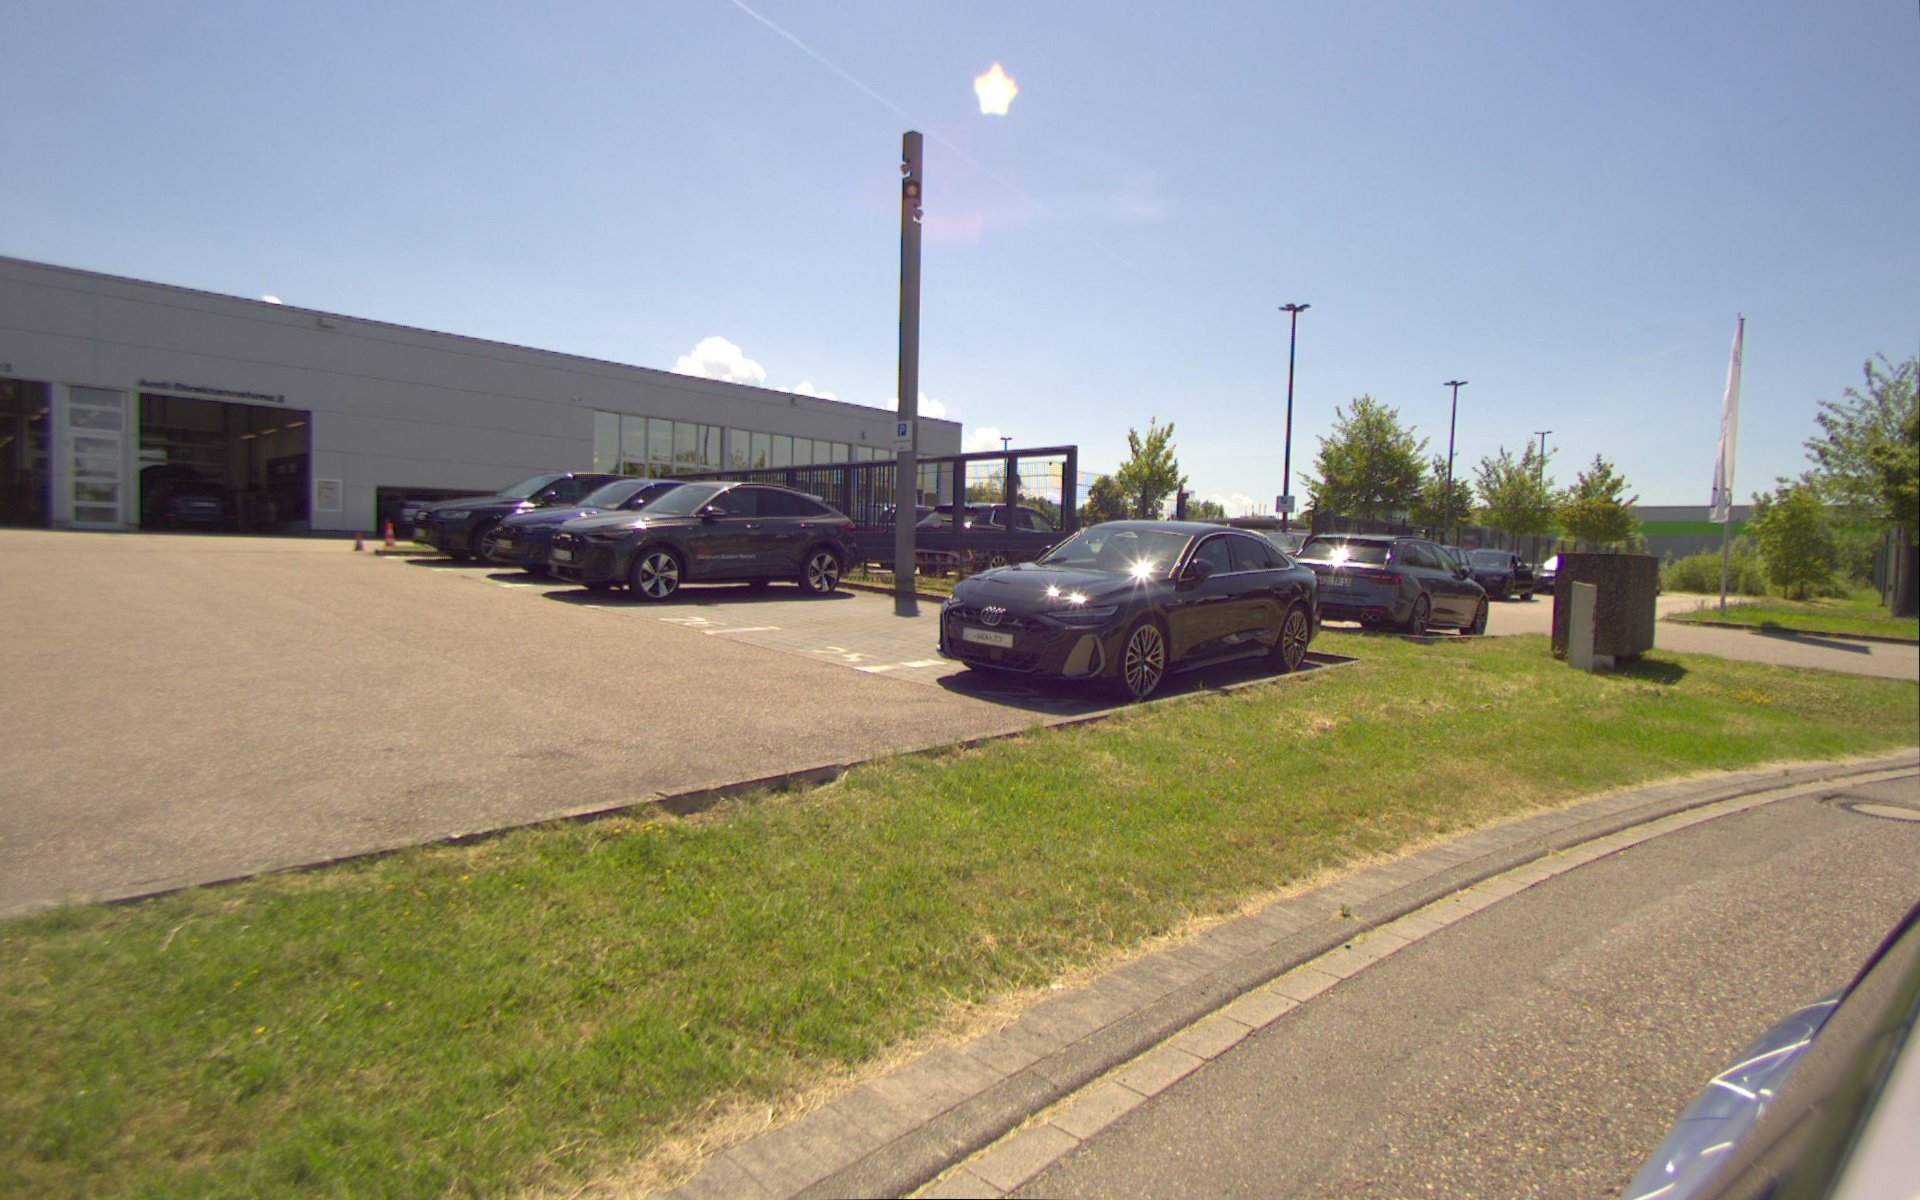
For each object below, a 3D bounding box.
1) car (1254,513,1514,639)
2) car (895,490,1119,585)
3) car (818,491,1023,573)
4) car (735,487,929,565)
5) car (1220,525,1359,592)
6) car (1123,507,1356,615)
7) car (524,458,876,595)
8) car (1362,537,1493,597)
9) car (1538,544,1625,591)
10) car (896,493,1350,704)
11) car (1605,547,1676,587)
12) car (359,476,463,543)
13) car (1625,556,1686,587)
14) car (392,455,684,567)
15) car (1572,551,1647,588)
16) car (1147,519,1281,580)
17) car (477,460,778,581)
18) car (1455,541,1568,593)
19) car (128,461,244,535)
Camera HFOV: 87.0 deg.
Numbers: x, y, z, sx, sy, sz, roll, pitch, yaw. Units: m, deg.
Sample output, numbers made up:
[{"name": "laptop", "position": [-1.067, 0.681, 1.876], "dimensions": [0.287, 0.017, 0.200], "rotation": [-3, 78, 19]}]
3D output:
[{"name": "car", "position": [6.262, -0.400, 14.609], "dimensions": [1.961, 1.485, 4.872], "rotation": [5, 5, 41]}, {"name": "car", "position": [1.042, -1.213, 20.032], "dimensions": [1.961, 1.649, 4.557], "rotation": [5, 5, 41]}, {"name": "car", "position": [-0.787, -1.480, 22.709], "dimensions": [1.961, 1.649, 4.557], "rotation": [5, 5, 41]}, {"name": "car", "position": [-2.925, -1.701, 23.893], "dimensions": [1.961, 1.649, 4.313], "rotation": [5, 5, 41]}, {"name": "car", "position": [9.218, -1.145, 28.062], "dimensions": [1.961, 1.649, 4.557], "rotation": [5, 5, 41]}, {"name": "car", "position": [4.873, -0.675, 17.180], "dimensions": [1.819, 1.547, 4.871], "rotation": [5, 5, 41]}, {"name": "car", "position": [-3.575, -1.025, 14.679], "dimensions": [1.824, 1.662, 4.715], "rotation": [7, 6, 41]}, {"name": "car", "position": [12.079, -0.867, 26.042], "dimensions": [1.776, 1.365, 4.080], "rotation": [5, 5, 44]}, {"name": "car", "position": [23.089, -1.224, 37.516], "dimensions": [1.776, 1.585, 4.336], "rotation": [5, 5, 44]}, {"name": "car", "position": [1.818, -0.116, 9.646], "dimensions": [1.879, 1.472, 4.949], "rotation": [6, 5, 41]}, {"name": "car", "position": [30.717, -1.492, 45.644], "dimensions": [1.821, 1.666, 4.327], "rotation": [5, 5, 44]}, {"name": "car", "position": [-16.368, -2.723, 30.074], "dimensions": [1.933, 1.762, 4.252], "rotation": [0, 6, -40]}, {"name": "car", "position": [35.216, -1.473, 51.214], "dimensions": [1.821, 1.458, 4.047], "rotation": [5, 5, 44]}, {"name": "car", "position": [-7.618, -1.572, 18.627], "dimensions": [1.961, 1.763, 4.557], "rotation": [7, 6, 41]}, {"name": "car", "position": [26.938, -1.287, 41.900], "dimensions": [1.776, 1.373, 4.106], "rotation": [5, 5, 44]}, {"name": "car", "position": [7.641, -1.483, 30.185], "dimensions": [1.961, 1.649, 4.557], "rotation": [5, 5, 41]}, {"name": "car", "position": [-5.328, -1.254, 16.651], "dimensions": [1.824, 1.714, 4.351], "rotation": [7, 6, 41]}, {"name": "car", "position": [16.769, -1.011, 30.674], "dimensions": [1.776, 1.418, 4.500], "rotation": [5, 5, 44]}, {"name": "car", "position": [-21.183, -2.817, 27.628], "dimensions": [4.244, 1.762, 1.937], "rotation": [8, 6, 44]}]
